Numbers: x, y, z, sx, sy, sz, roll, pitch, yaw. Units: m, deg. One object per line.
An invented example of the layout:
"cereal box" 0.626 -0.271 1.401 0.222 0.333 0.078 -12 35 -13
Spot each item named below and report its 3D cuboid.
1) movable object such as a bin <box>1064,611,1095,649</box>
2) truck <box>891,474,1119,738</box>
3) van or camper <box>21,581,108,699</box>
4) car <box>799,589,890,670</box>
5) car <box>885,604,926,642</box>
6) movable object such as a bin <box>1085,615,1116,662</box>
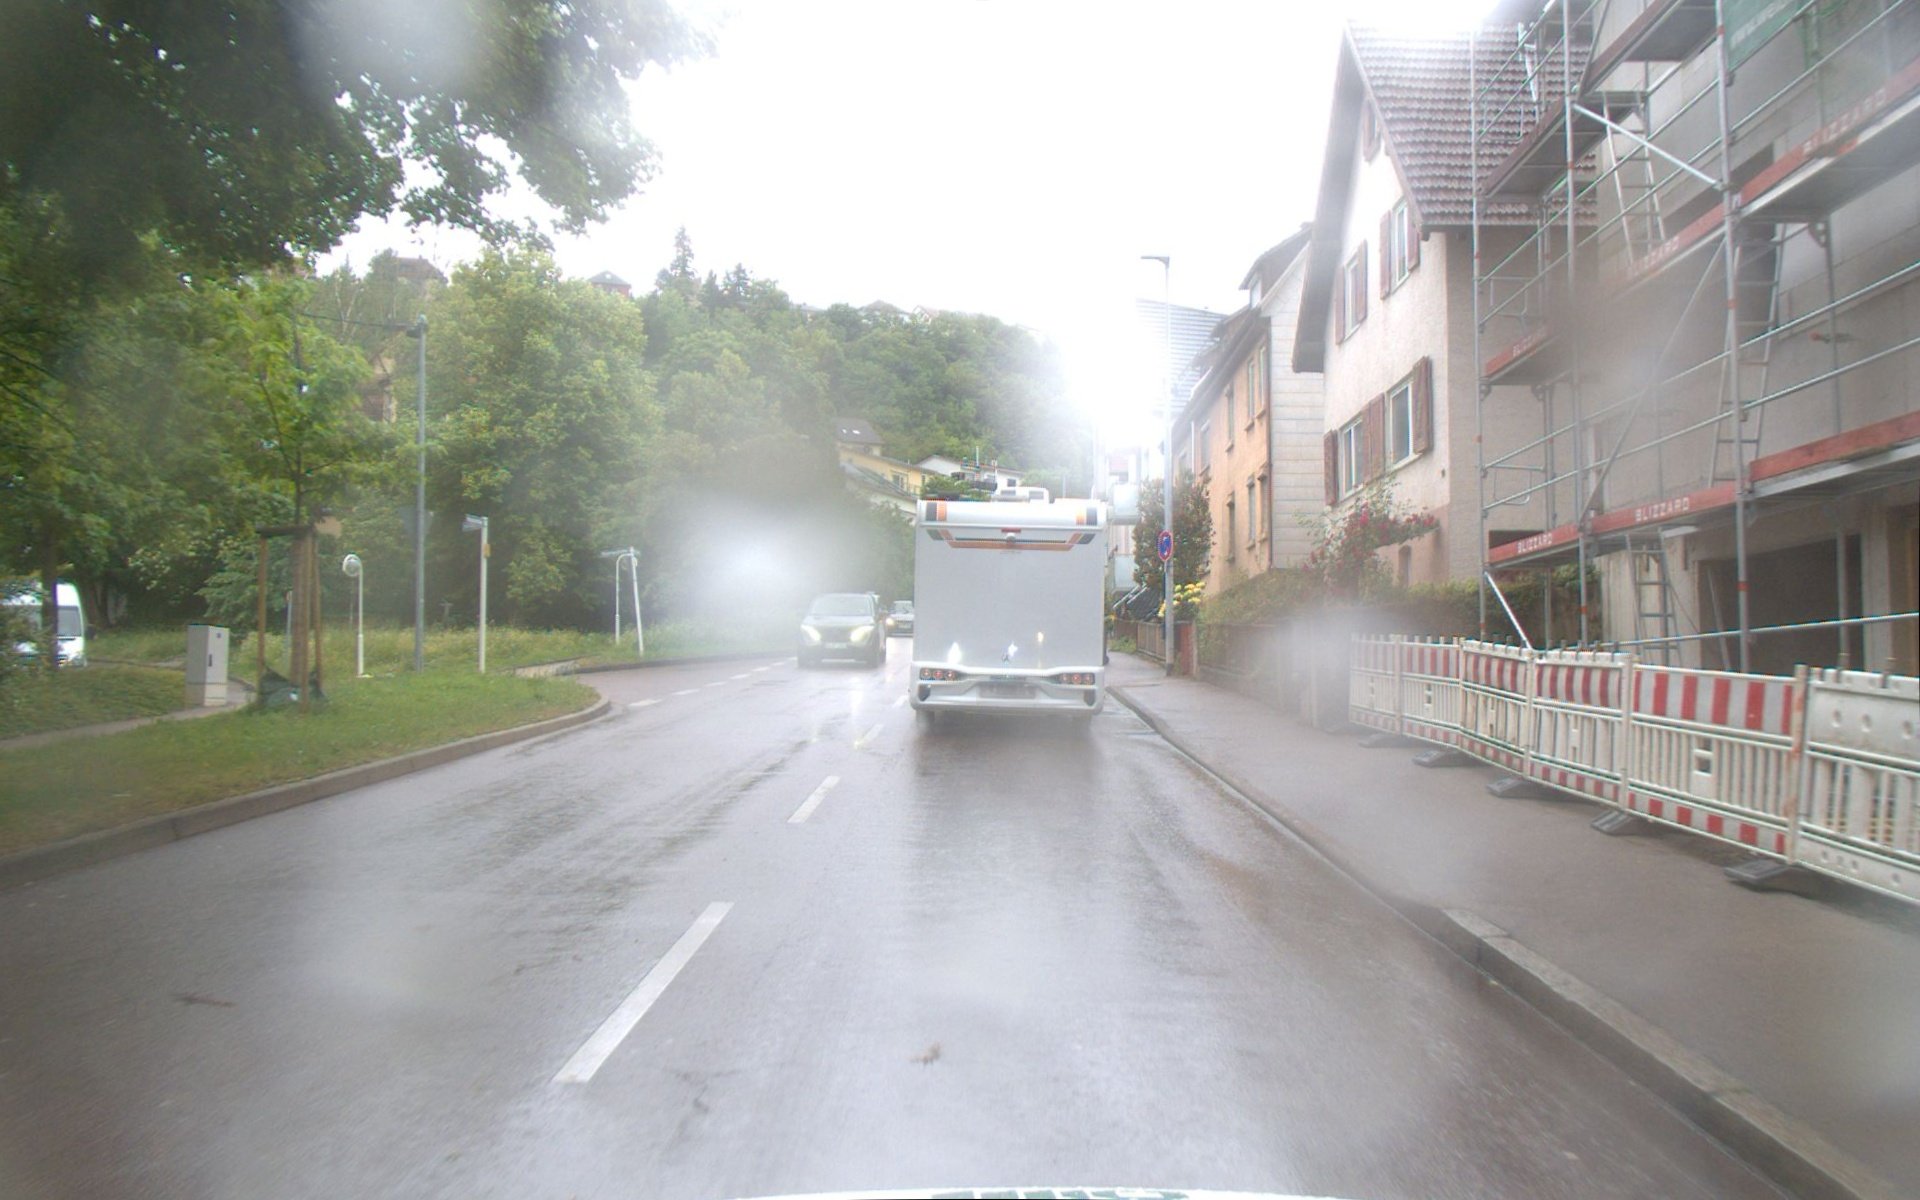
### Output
"movable object such as a bin" 3.628 0.904 50.215 0.894 1.122 0.702 1 0 3
"truck" 0.497 0.072 21.394 2.464 2.867 6.201 1 0 0
"van or camper" -21.578 0.897 39.813 1.618 2.601 6.006 3 -1 -29
"car" -2.607 0.649 38.265 1.715 1.718 4.376 1 0 0
"car" -2.209 0.919 67.635 1.528 1.480 4.084 1 0 0
"movable object such as a bin" 3.260 0.893 38.411 0.705 1.070 0.800 1 0 4
